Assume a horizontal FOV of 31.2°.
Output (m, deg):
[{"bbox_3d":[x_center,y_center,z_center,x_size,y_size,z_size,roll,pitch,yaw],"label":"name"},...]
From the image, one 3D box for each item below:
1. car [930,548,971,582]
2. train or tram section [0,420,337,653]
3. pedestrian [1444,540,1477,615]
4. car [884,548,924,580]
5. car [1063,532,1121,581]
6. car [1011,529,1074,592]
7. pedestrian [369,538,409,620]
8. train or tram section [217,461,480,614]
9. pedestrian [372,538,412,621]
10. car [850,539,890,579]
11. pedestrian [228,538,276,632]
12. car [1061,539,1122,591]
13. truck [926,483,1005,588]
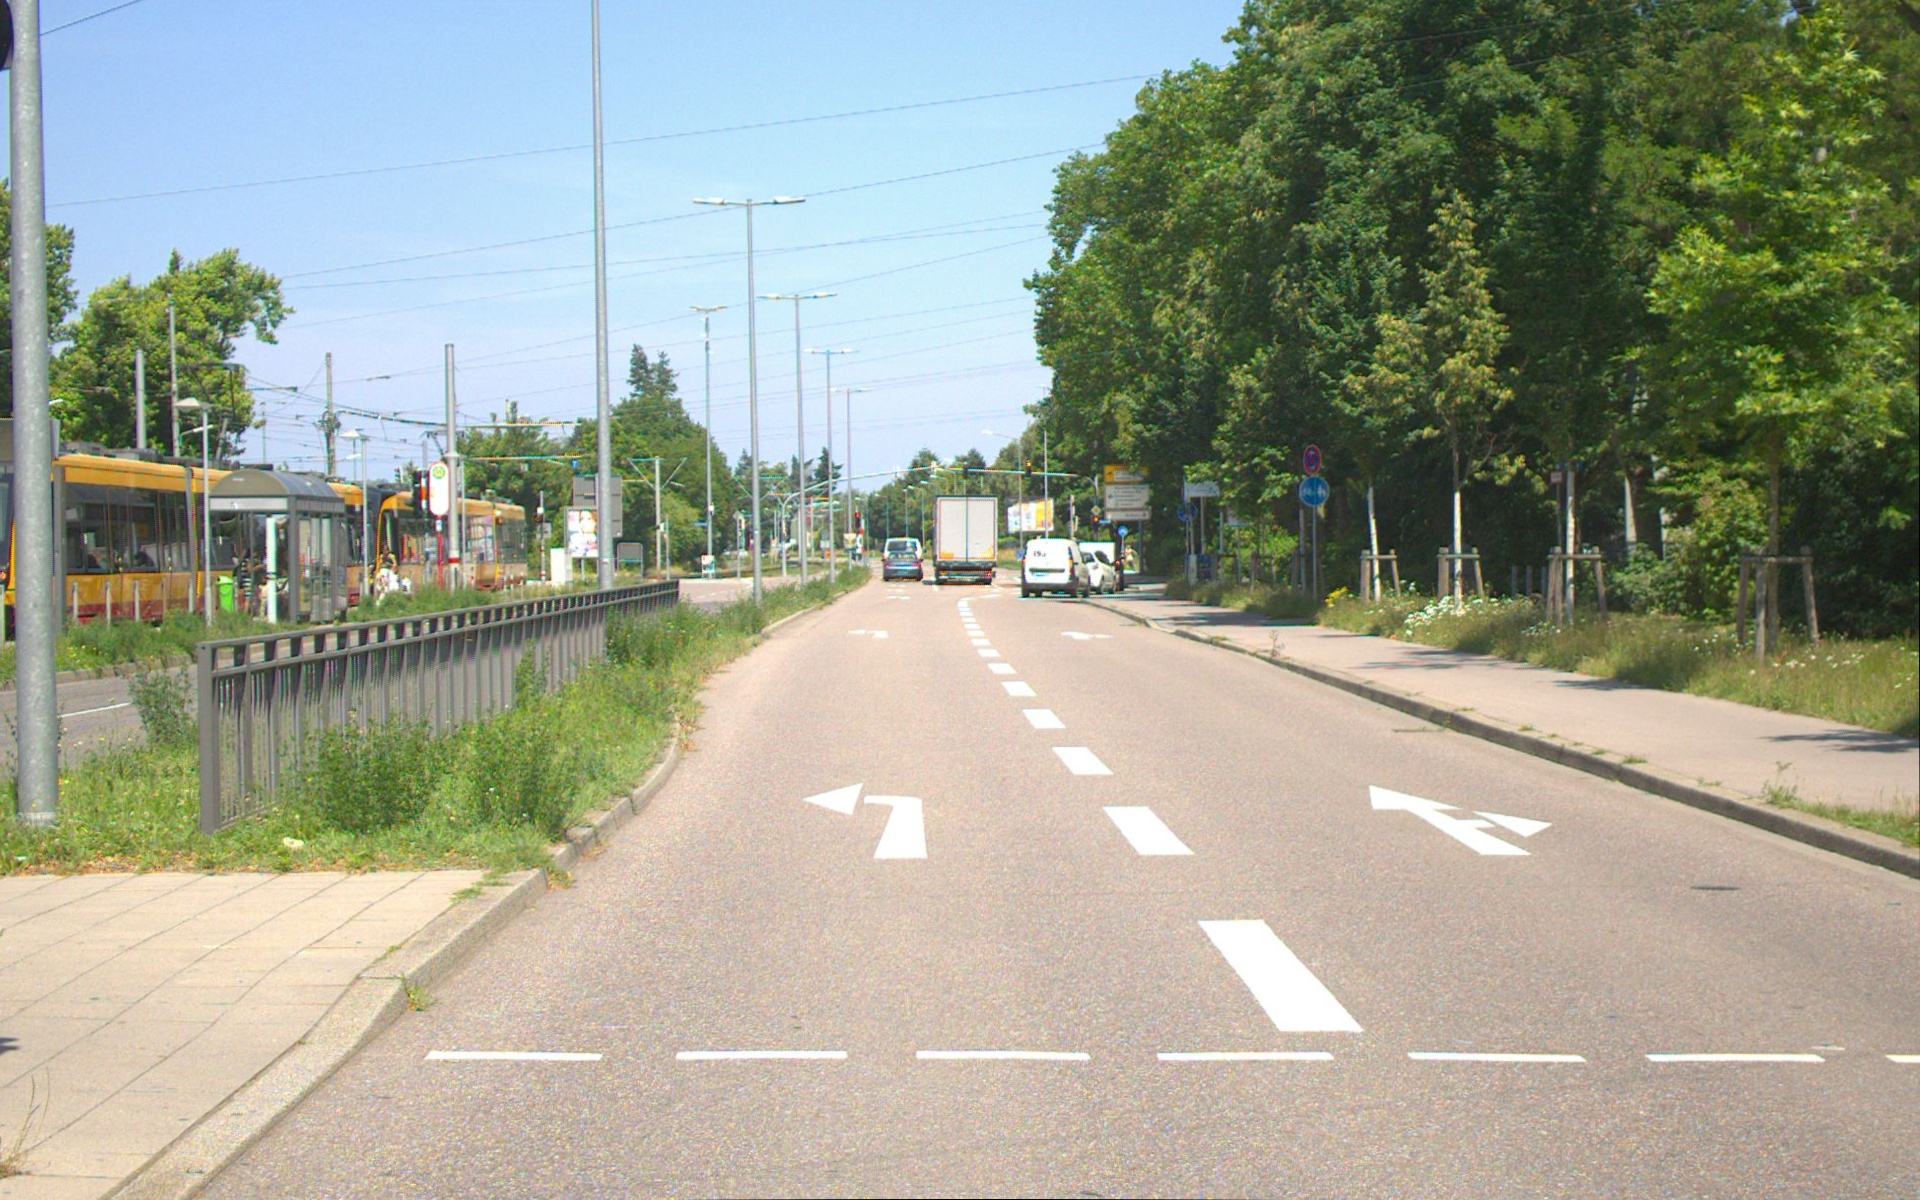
[{"bbox_3d":[-0.446,-1.566,153.616,1.811,1.459,4.000,0,1,-1],"label":"car"},{"bbox_3d":[-16.612,-1.276,70.246,2.957,3.736,30.035,0,1,-1],"label":"train or tram section"},{"bbox_3d":[9.584,-0.433,65.892,0.604,1.433,0.556,0,1,6],"label":"pedestrian"},{"bbox_3d":[-2.571,-1.660,157.883,1.811,1.459,4.000,0,1,-1],"label":"car"},{"bbox_3d":[4.537,-1.522,118.788,1.779,1.663,4.000,0,1,-1],"label":"car"},{"bbox_3d":[2.499,-1.229,105.514,1.779,1.897,4.000,0,1,-1],"label":"car"},{"bbox_3d":[-14.103,-0.530,84.946,0.815,2.007,0.938,0,1,-1],"label":"pedestrian"},{"bbox_3d":[-17.458,-1.848,101.691,2.931,3.776,33.091,0,1,-2],"label":"train or tram section"},{"bbox_3d":[-13.825,-0.514,83.652,0.815,2.007,0.938,0,1,-1],"label":"pedestrian"},{"bbox_3d":[-4.568,-2.085,175.164,1.993,2.007,4.000,0,1,-1],"label":"car"},{"bbox_3d":[-14.264,-0.307,69.300,0.785,1.862,0.817,0,1,-1],"label":"pedestrian"},{"bbox_3d":[4.288,-1.158,112.444,1.779,1.663,4.000,0,1,-1],"label":"car"},{"bbox_3d":[0.200,-2.727,146.051,3.205,4.344,6.561,0,1,-1],"label":"truck"}]
